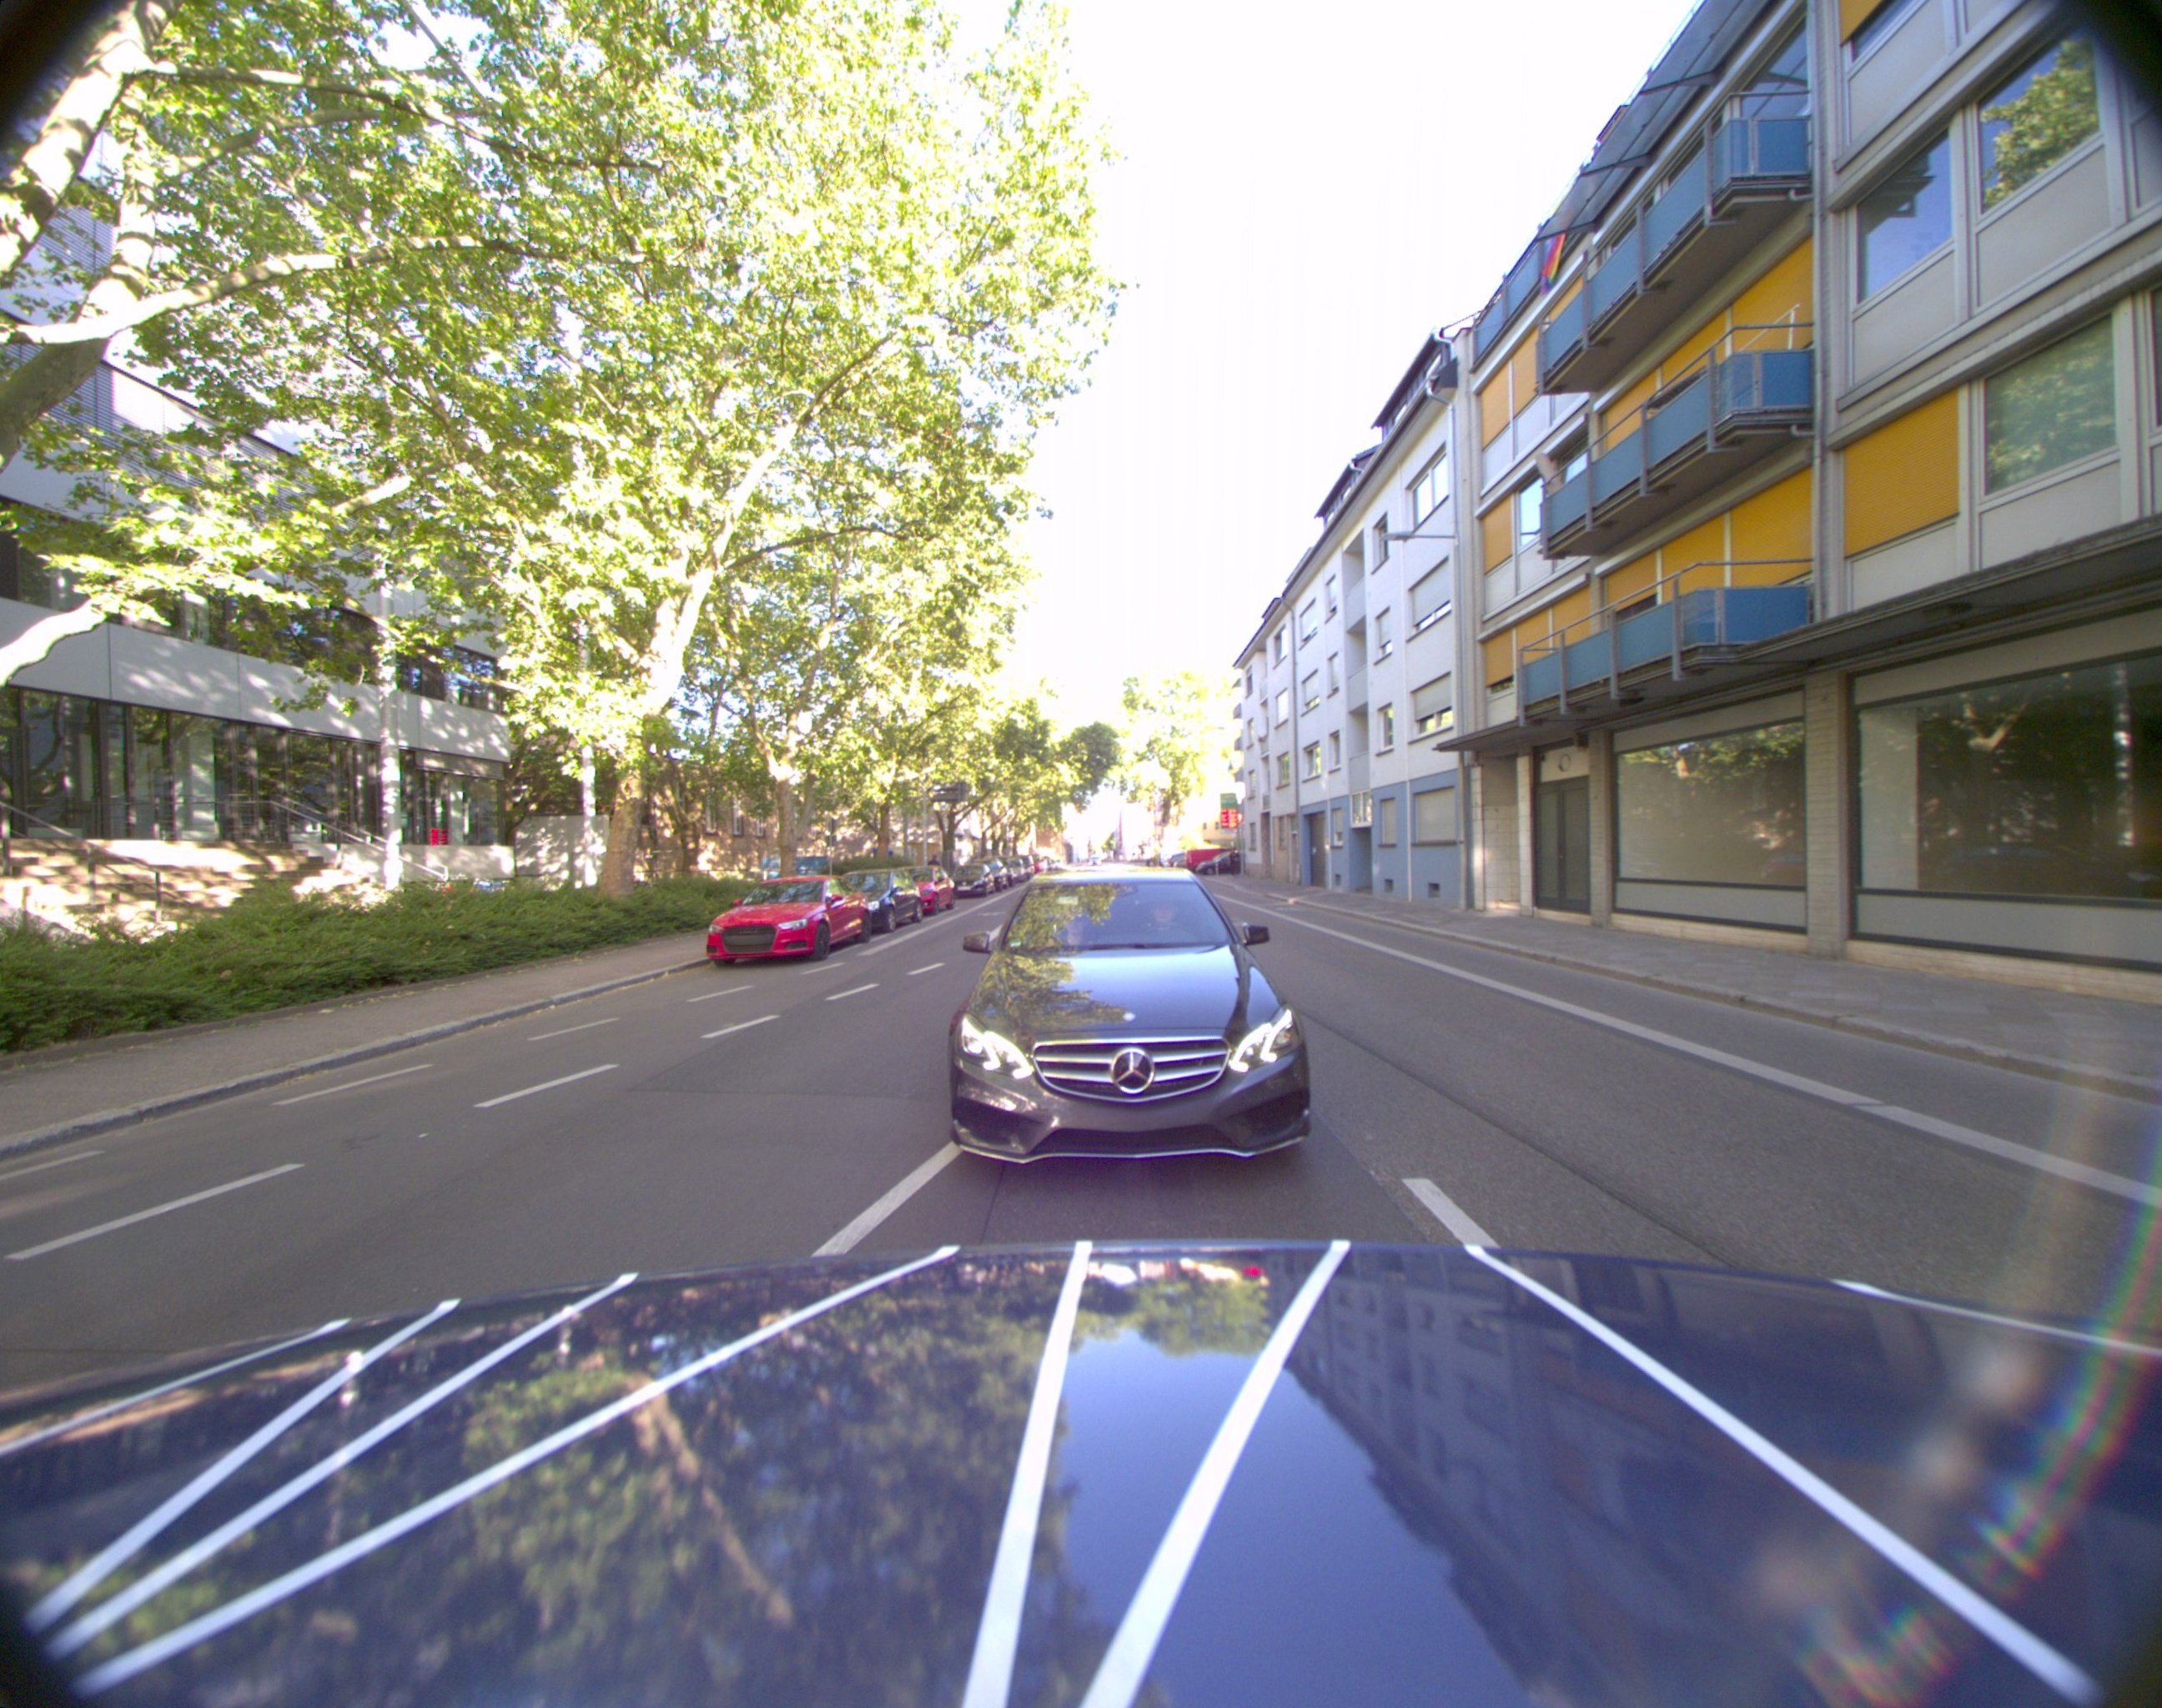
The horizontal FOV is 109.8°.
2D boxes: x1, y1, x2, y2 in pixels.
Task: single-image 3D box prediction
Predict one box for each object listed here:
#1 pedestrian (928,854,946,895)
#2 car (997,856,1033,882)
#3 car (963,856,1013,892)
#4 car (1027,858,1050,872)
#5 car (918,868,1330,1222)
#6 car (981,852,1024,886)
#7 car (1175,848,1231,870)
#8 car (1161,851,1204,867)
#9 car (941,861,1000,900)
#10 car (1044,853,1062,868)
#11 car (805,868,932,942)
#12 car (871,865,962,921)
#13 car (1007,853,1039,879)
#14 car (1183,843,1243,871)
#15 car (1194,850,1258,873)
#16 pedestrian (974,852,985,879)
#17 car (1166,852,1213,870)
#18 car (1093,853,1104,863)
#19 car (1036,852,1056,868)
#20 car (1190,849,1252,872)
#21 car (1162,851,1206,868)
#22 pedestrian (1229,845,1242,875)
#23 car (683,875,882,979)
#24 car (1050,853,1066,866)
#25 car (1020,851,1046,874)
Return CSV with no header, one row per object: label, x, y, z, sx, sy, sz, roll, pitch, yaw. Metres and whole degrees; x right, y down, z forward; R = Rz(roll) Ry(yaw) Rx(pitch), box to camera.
pedestrian,-6.685,0.946,35.307,0.660,1.849,0.641,-1,1,1
car,-4.338,0.951,50.608,1.835,1.604,4.259,-2,0,1
car,-4.597,0.969,38.075,1.835,1.596,4.161,-2,0,1
car,-3.991,1.032,71.788,1.835,1.220,4.259,-2,0,1
car,0.226,0.922,5.633,1.849,1.490,4.302,-1,0,1
car,-4.510,0.827,44.115,1.835,1.787,4.463,-2,0,1
car,10.051,0.418,62.712,4.255,1.461,1.653,-4,0,1
car,10.773,0.525,80.616,4.255,1.461,1.653,-4,0,1
car,-4.745,1.108,33.177,1.835,1.459,4.168,-2,0,1
car,-3.413,0.793,92.842,1.835,1.667,4.259,-2,0,1
car,-5.040,1.154,18.631,1.835,1.438,4.168,-2,0,1
car,-5.042,1.138,23.840,1.835,1.459,4.168,-2,0,1
car,-4.180,0.817,55.639,1.835,1.750,4.259,-2,0,1
car,10.415,0.232,60.130,4.255,1.907,1.818,-4,0,0
car,10.399,0.528,54.748,4.255,1.392,1.653,-4,0,1
pedestrian,-6.924,0.790,51.860,0.601,1.785,0.593,-2,1,0
car,10.431,0.684,73.193,4.255,1.461,1.653,-4,0,1
car,2.858,0.702,126.015,1.726,1.530,4.000,-1,0,1
car,-3.940,0.674,86.227,1.835,1.667,4.259,-2,0,1
car,10.483,0.464,57.050,4.255,1.461,1.653,-4,0,1
car,10.602,0.551,78.651,4.255,1.461,1.653,-4,0,1
pedestrian,8.865,0.341,43.670,0.612,1.685,0.656,-1,1,6
car,-5.129,1.181,13.770,1.835,1.396,4.247,-2,0,1
car,-3.048,0.692,102.949,1.835,1.667,4.259,-2,0,1
car,-4.146,0.687,66.347,1.835,1.839,4.259,-2,0,1
